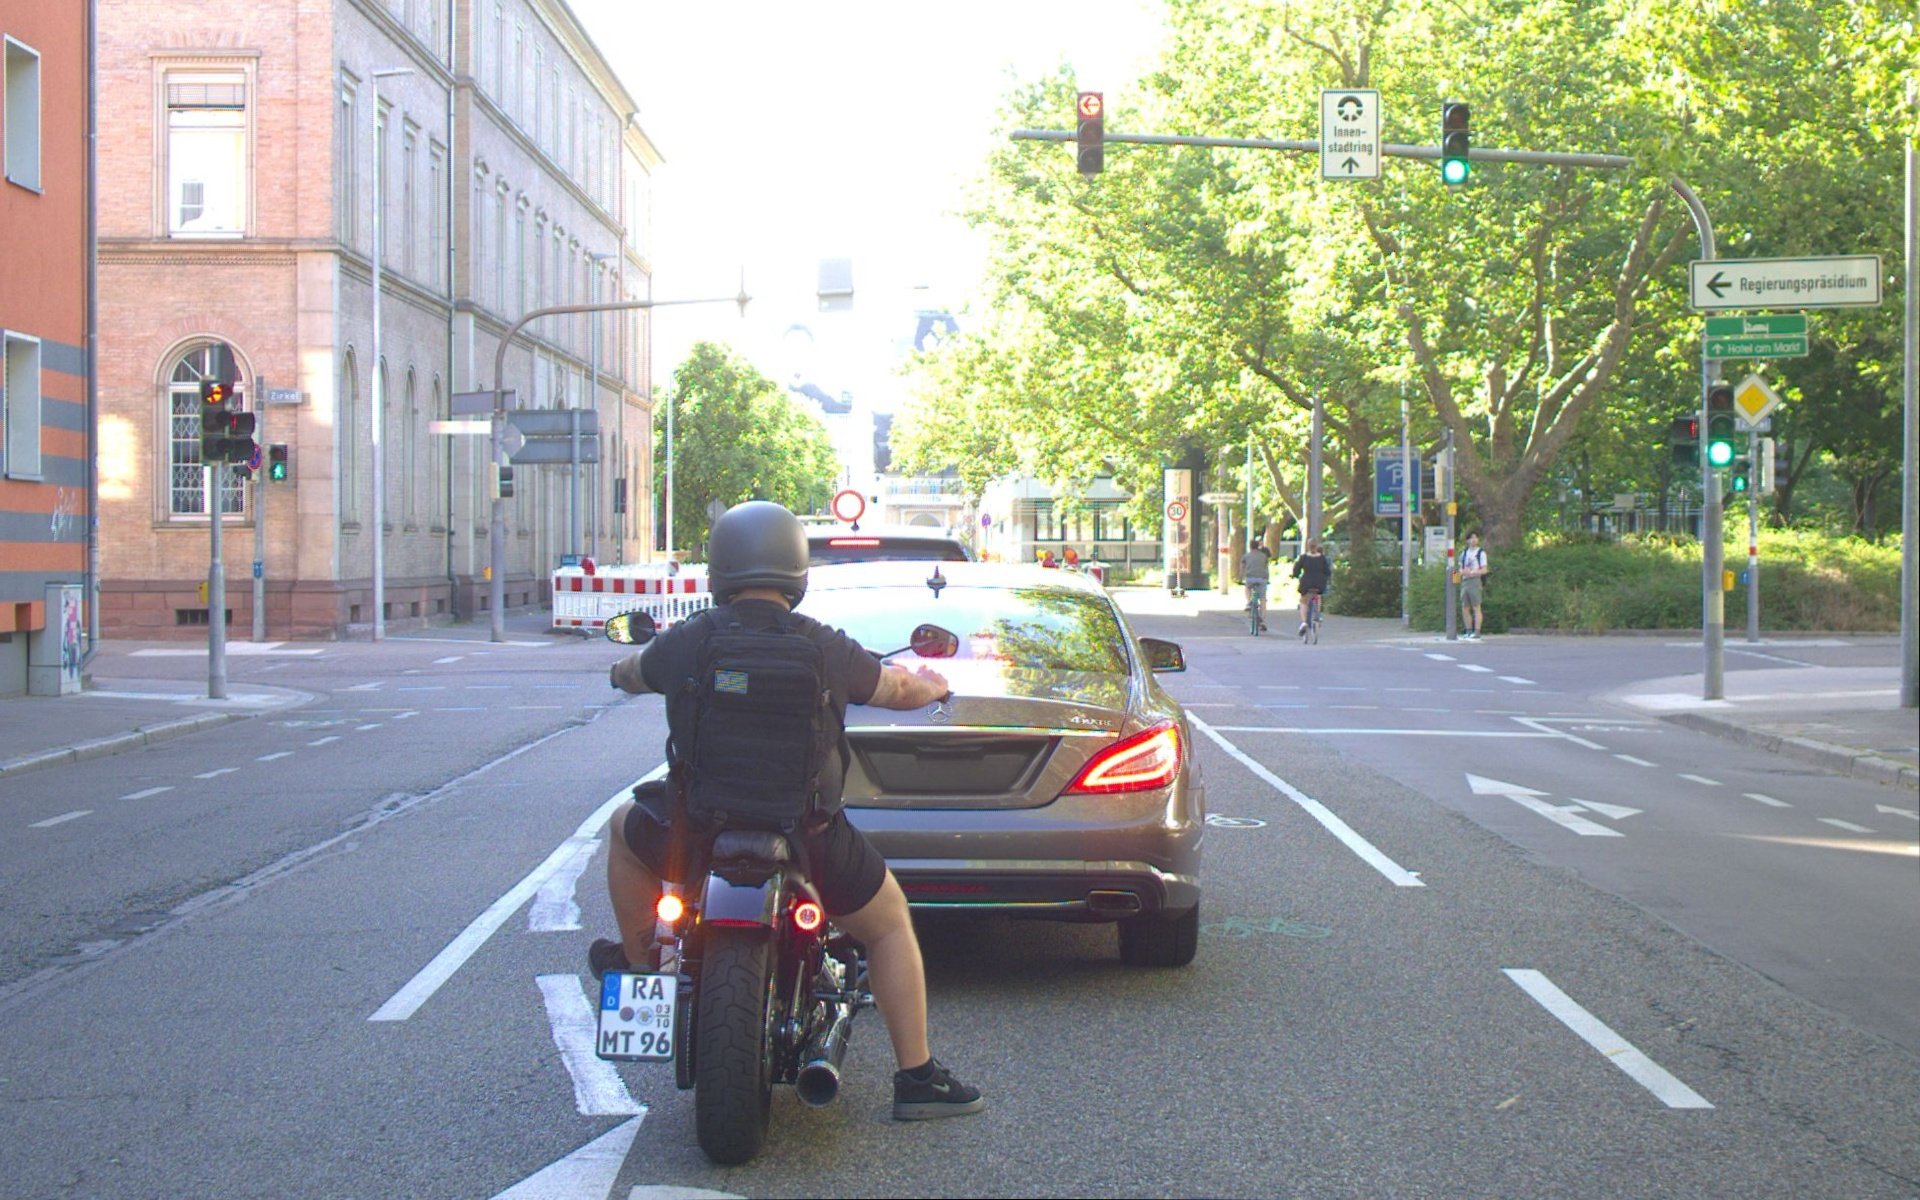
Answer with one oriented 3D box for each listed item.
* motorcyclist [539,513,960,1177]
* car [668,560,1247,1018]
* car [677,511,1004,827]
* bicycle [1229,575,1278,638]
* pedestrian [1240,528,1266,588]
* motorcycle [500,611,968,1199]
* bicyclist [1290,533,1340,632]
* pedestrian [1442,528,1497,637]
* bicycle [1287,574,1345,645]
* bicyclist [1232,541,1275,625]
[{"bbox_3d":[-0.513,0.577,8.972,1.012,1.596,1.406,0,1,-1],"label":"motorcyclist"},{"bbox_3d":[-0.031,0.580,12.864,1.828,1.415,3.815,1,1,-1],"label":"car"},{"bbox_3d":[-0.789,0.347,20.252,1.630,1.645,3.851,2,1,-6],"label":"car"},{"bbox_3d":[5.397,0.113,63.253,0.656,1.107,2.186,2,1,-1],"label":"bicycle"},{"bbox_3d":[7.757,-1.107,91.001,0.592,1.573,0.527,2,0,0],"label":"pedestrian"},{"bbox_3d":[-0.503,0.708,8.773,1.012,1.302,2.673,0,1,-1],"label":"motorcycle"},{"bbox_3d":[5.576,-0.280,54.003,0.656,1.525,0.852,2,0,-1],"label":"bicyclist"},{"bbox_3d":[8.402,-0.293,56.724,0.570,1.768,0.625,1,1,-34],"label":"pedestrian"},{"bbox_3d":[5.573,0.142,53.882,0.656,1.066,1.927,2,1,-1],"label":"bicycle"},{"bbox_3d":[5.409,-0.314,63.348,0.656,1.525,0.906,2,0,-1],"label":"bicyclist"}]
